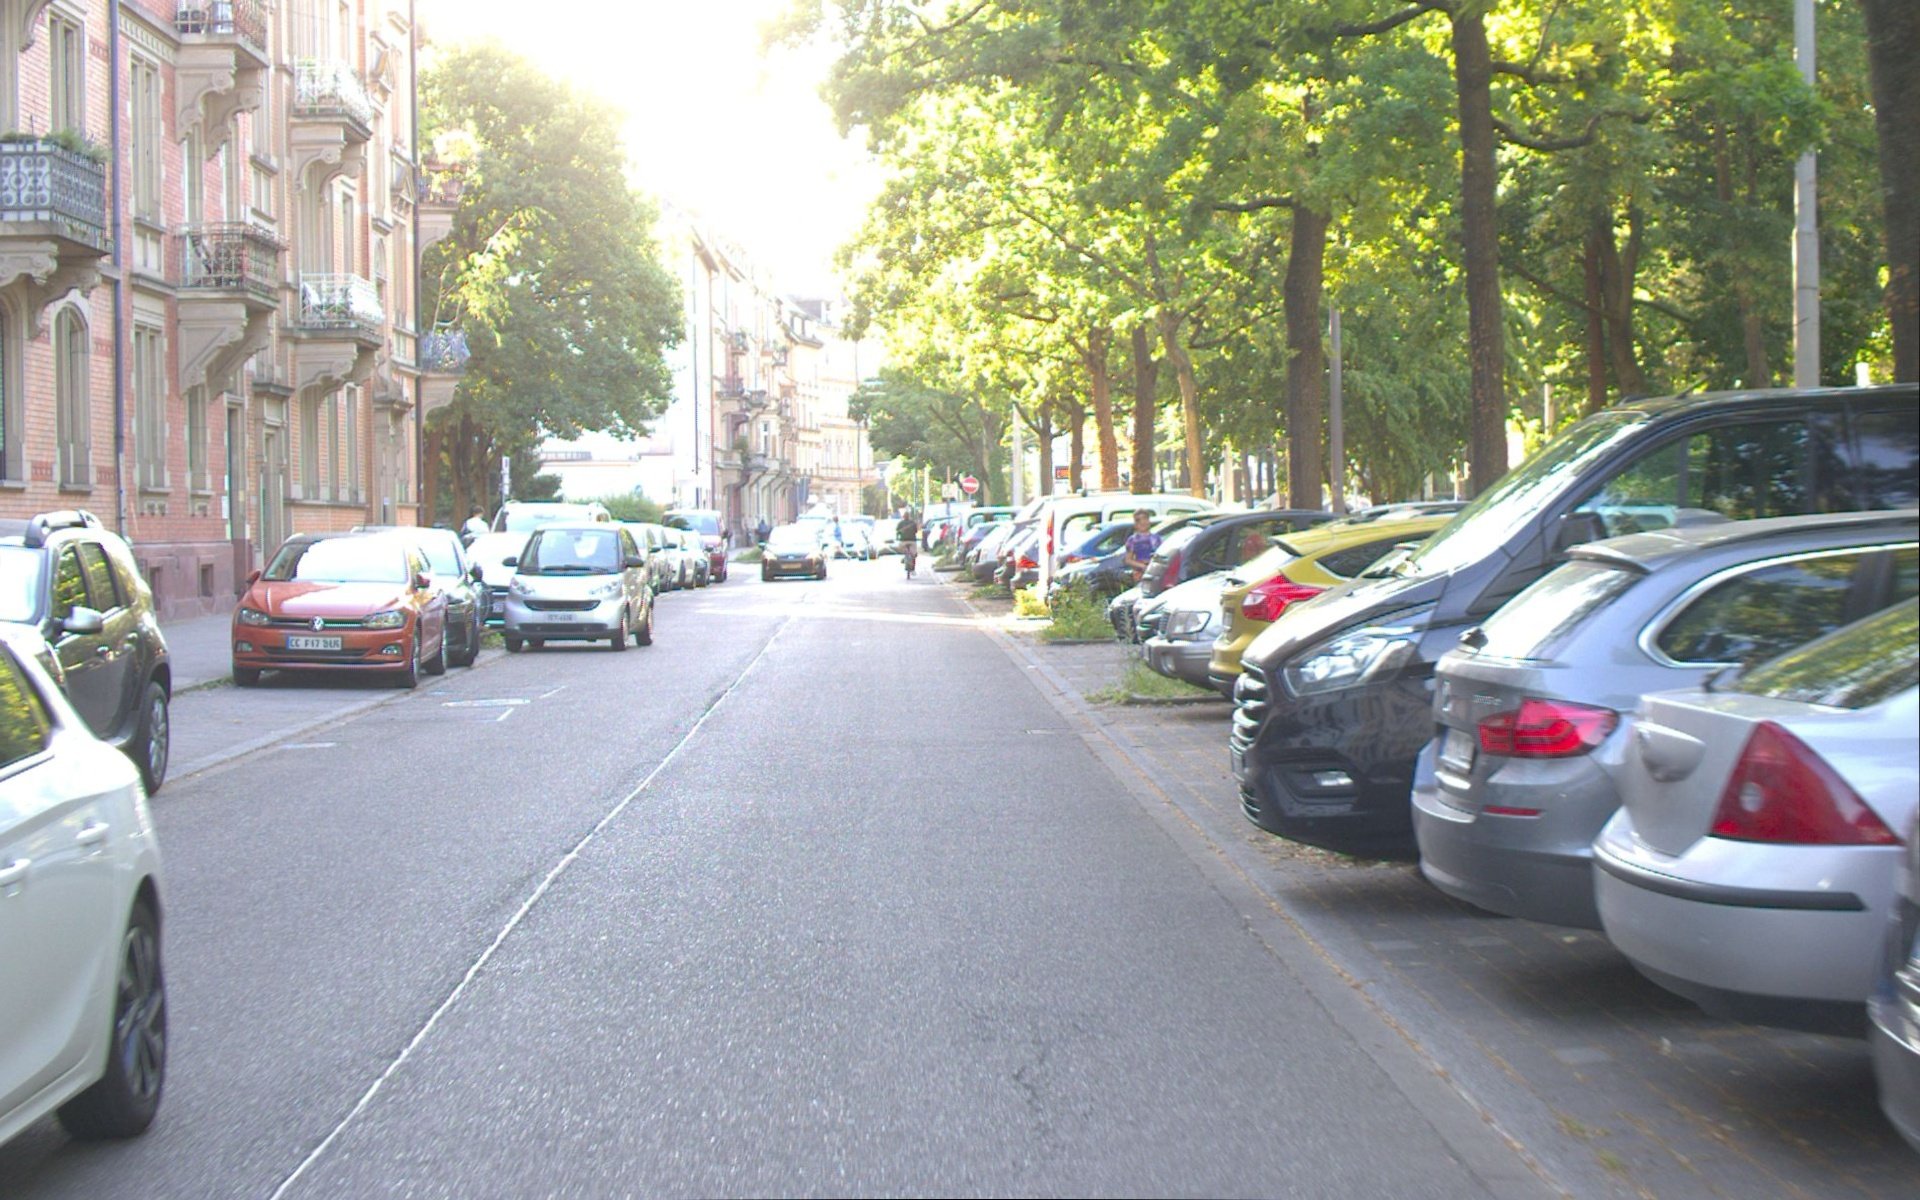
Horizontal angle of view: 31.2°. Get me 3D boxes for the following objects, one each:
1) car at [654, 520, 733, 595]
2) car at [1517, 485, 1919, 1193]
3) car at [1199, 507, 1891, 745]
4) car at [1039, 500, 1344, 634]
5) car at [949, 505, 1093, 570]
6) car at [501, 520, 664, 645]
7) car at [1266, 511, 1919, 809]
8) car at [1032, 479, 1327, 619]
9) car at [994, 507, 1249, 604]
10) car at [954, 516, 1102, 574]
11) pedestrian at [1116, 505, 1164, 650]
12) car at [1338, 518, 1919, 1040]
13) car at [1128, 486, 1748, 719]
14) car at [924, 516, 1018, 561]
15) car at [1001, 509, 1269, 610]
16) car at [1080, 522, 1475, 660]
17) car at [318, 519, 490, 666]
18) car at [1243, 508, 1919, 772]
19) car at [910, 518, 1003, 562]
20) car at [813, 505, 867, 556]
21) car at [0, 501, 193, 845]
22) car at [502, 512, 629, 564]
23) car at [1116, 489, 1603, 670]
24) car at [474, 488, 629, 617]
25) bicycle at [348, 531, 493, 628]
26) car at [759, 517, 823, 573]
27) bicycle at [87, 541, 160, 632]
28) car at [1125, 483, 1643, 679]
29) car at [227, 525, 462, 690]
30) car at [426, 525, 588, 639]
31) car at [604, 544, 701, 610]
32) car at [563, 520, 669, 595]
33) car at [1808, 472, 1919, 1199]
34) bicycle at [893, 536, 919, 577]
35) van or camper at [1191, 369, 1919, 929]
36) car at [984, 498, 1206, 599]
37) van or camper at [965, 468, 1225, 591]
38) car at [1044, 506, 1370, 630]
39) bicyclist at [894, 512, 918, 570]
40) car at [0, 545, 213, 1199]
[{"bbox_3d":[-7.296,-1.184,94.540,1.957,2.011,4.268,0,1,-2],"label":"car"},{"bbox_3d":[3.722,0.485,8.504,4.399,1.572,1.664,-2,0,2],"label":"car"},{"bbox_3d":[3.892,0.158,23.463,4.399,1.435,1.838,-2,1,2],"label":"car"},{"bbox_3d":[2.888,-0.426,43.387,3.674,1.496,1.762,-3,1,0],"label":"car"},{"bbox_3d":[1.735,-1.785,98.617,3.986,1.788,1.859,0,0,-4],"label":"car"},{"bbox_3d":[-4.619,-0.234,42.310,1.504,1.430,2.753,-2,1,4],"label":"car"},{"bbox_3d":[3.983,0.278,18.627,4.399,1.435,1.838,-2,1,-2],"label":"car"},{"bbox_3d":[3.241,-0.769,51.304,4.220,1.857,1.762,-3,1,0],"label":"car"},{"bbox_3d":[2.727,-0.768,58.714,4.220,1.448,1.865,-3,1,0],"label":"car"},{"bbox_3d":[1.882,-1.539,95.949,3.986,1.558,1.859,0,0,-4],"label":"car"},{"bbox_3d":[1.997,-0.251,38.055,0.380,1.579,0.518,0,3,18],"label":"pedestrian"},{"bbox_3d":[3.587,0.485,11.141,4.399,1.496,1.838,-2,0,-4],"label":"car"},{"bbox_3d":[3.569,0.006,26.216,4.399,1.585,1.838,-2,1,-1],"label":"car"},{"bbox_3d":[0.505,-2.796,156.093,3.989,2.007,1.999,0,0,10],"label":"car"},{"bbox_3d":[2.845,-0.667,55.821,4.220,1.448,1.649,-2,1,3],"label":"car"},{"bbox_3d":[3.236,-0.106,35.513,3.842,1.274,1.691,-2,1,-2],"label":"car"},{"bbox_3d":[-6.177,-0.121,38.504,1.746,1.541,4.153,1,1,-7],"label":"car"},{"bbox_3d":[4.006,0.216,21.027,4.399,1.435,1.838,-2,1,2],"label":"car"},{"bbox_3d":[-0.159,-2.779,159.619,3.989,2.007,1.999,0,0,10],"label":"car"},{"bbox_3d":[-4.557,-2.621,130.273,1.993,1.831,4.000,0,0,-2],"label":"car"},{"bbox_3d":[-5.551,0.310,19.078,1.751,1.700,4.201,0,1,-2],"label":"car"},{"bbox_3d":[-13.165,-2.063,114.830,3.987,1.700,2.000,0,0,0],"label":"car"},{"bbox_3d":[3.856,-0.208,33.594,4.398,1.585,1.838,-2,1,-5],"label":"car"},{"bbox_3d":[-6.315,-0.690,53.628,1.993,1.914,5.040,0,0,-2],"label":"car"},{"bbox_3d":[-6.823,-0.260,43.510,1.763,1.211,0.428,0,0,-1],"label":"bicycle"},{"bbox_3d":[-4.635,-1.529,94.685,1.668,1.459,4.001,-2,1,-2],"label":"car"},{"bbox_3d":[-10.495,-0.159,43.158,0.427,1.126,1.769,0,0,2],"label":"bicycle"},{"bbox_3d":[3.751,-0.180,30.992,4.399,1.585,1.838,-2,1,0],"label":"car"},{"bbox_3d":[-5.975,0.026,33.767,1.753,1.459,4.001,2,1,-3],"label":"car"},{"bbox_3d":[-6.243,-0.288,47.783,1.674,1.449,4.210,-2,1,0],"label":"car"},{"bbox_3d":[-7.164,-0.557,80.356,1.756,1.461,4.268,0,1,2],"label":"car"},{"bbox_3d":[-6.959,-0.884,69.815,1.703,1.424,3.877,1,1,0],"label":"car"},{"bbox_3d":[3.859,0.505,5.906,4.400,1.572,1.664,-2,0,4],"label":"car"},{"bbox_3d":[-1.470,-1.181,93.508,0.641,1.096,1.944,0,0,-2],"label":"bicycle"},{"bbox_3d":[3.711,0.114,13.821,5.414,2.020,2.029,-2,2,2],"label":"van or camper"},{"bbox_3d":[2.476,-0.965,63.788,3.987,1.685,1.859,-3,1,0],"label":"car"},{"bbox_3d":[2.652,-1.374,68.343,4.981,2.369,2.185,0,0,-3],"label":"van or camper"},{"bbox_3d":[3.249,-0.436,45.729,4.081,1.437,1.762,-3,1,-3],"label":"car"},{"bbox_3d":[-1.483,-1.595,93.487,0.627,1.568,0.802,0,0,-2],"label":"bicyclist"},{"bbox_3d":[-2.845,0.699,7.143,1.668,1.426,4.001,-3,2,0],"label":"car"}]
